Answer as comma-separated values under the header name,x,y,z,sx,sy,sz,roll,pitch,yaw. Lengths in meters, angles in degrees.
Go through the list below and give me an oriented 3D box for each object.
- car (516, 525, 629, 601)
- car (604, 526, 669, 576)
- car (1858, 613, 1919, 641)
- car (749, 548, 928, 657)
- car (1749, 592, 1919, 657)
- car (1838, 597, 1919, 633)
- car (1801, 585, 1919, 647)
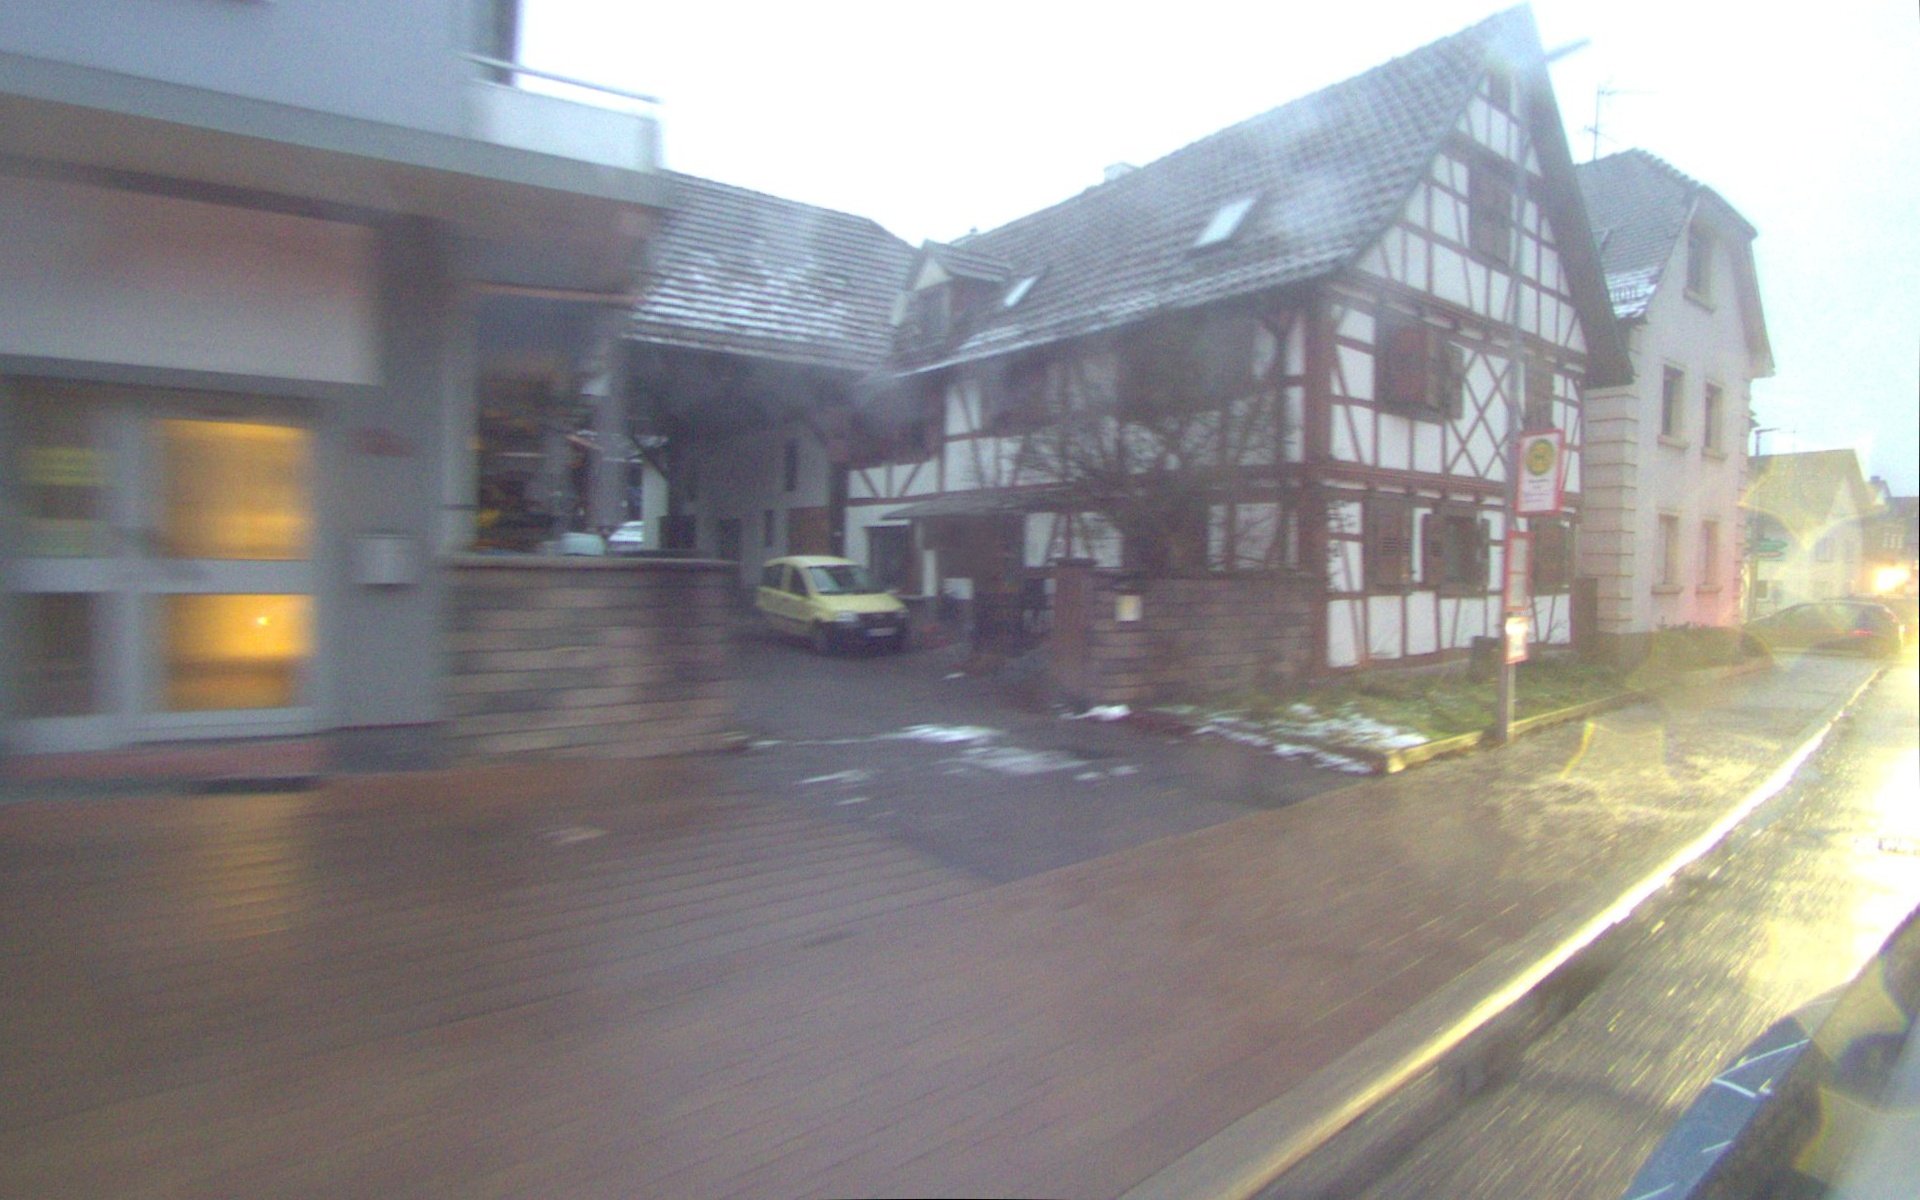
name,x,y,z,sx,sy,sz,roll,pitch,yaw
car,-10.013,-0.994,25.885,2.030,1.622,4.744,0,5,-29
car,-10.140,-1.524,31.552,1.668,1.437,3.517,1,2,-22
car,43.323,1.263,45.816,1.525,1.141,3.883,1,2,-43
car,-2.167,-0.055,17.450,1.589,1.561,3.428,-3,6,-36
car,26.264,0.674,30.422,3.842,1.647,1.587,4,2,43
car,39.211,0.650,42.119,1.525,1.384,3.883,1,2,-43
car,30.584,0.522,33.693,3.877,1.900,1.841,3,2,42
